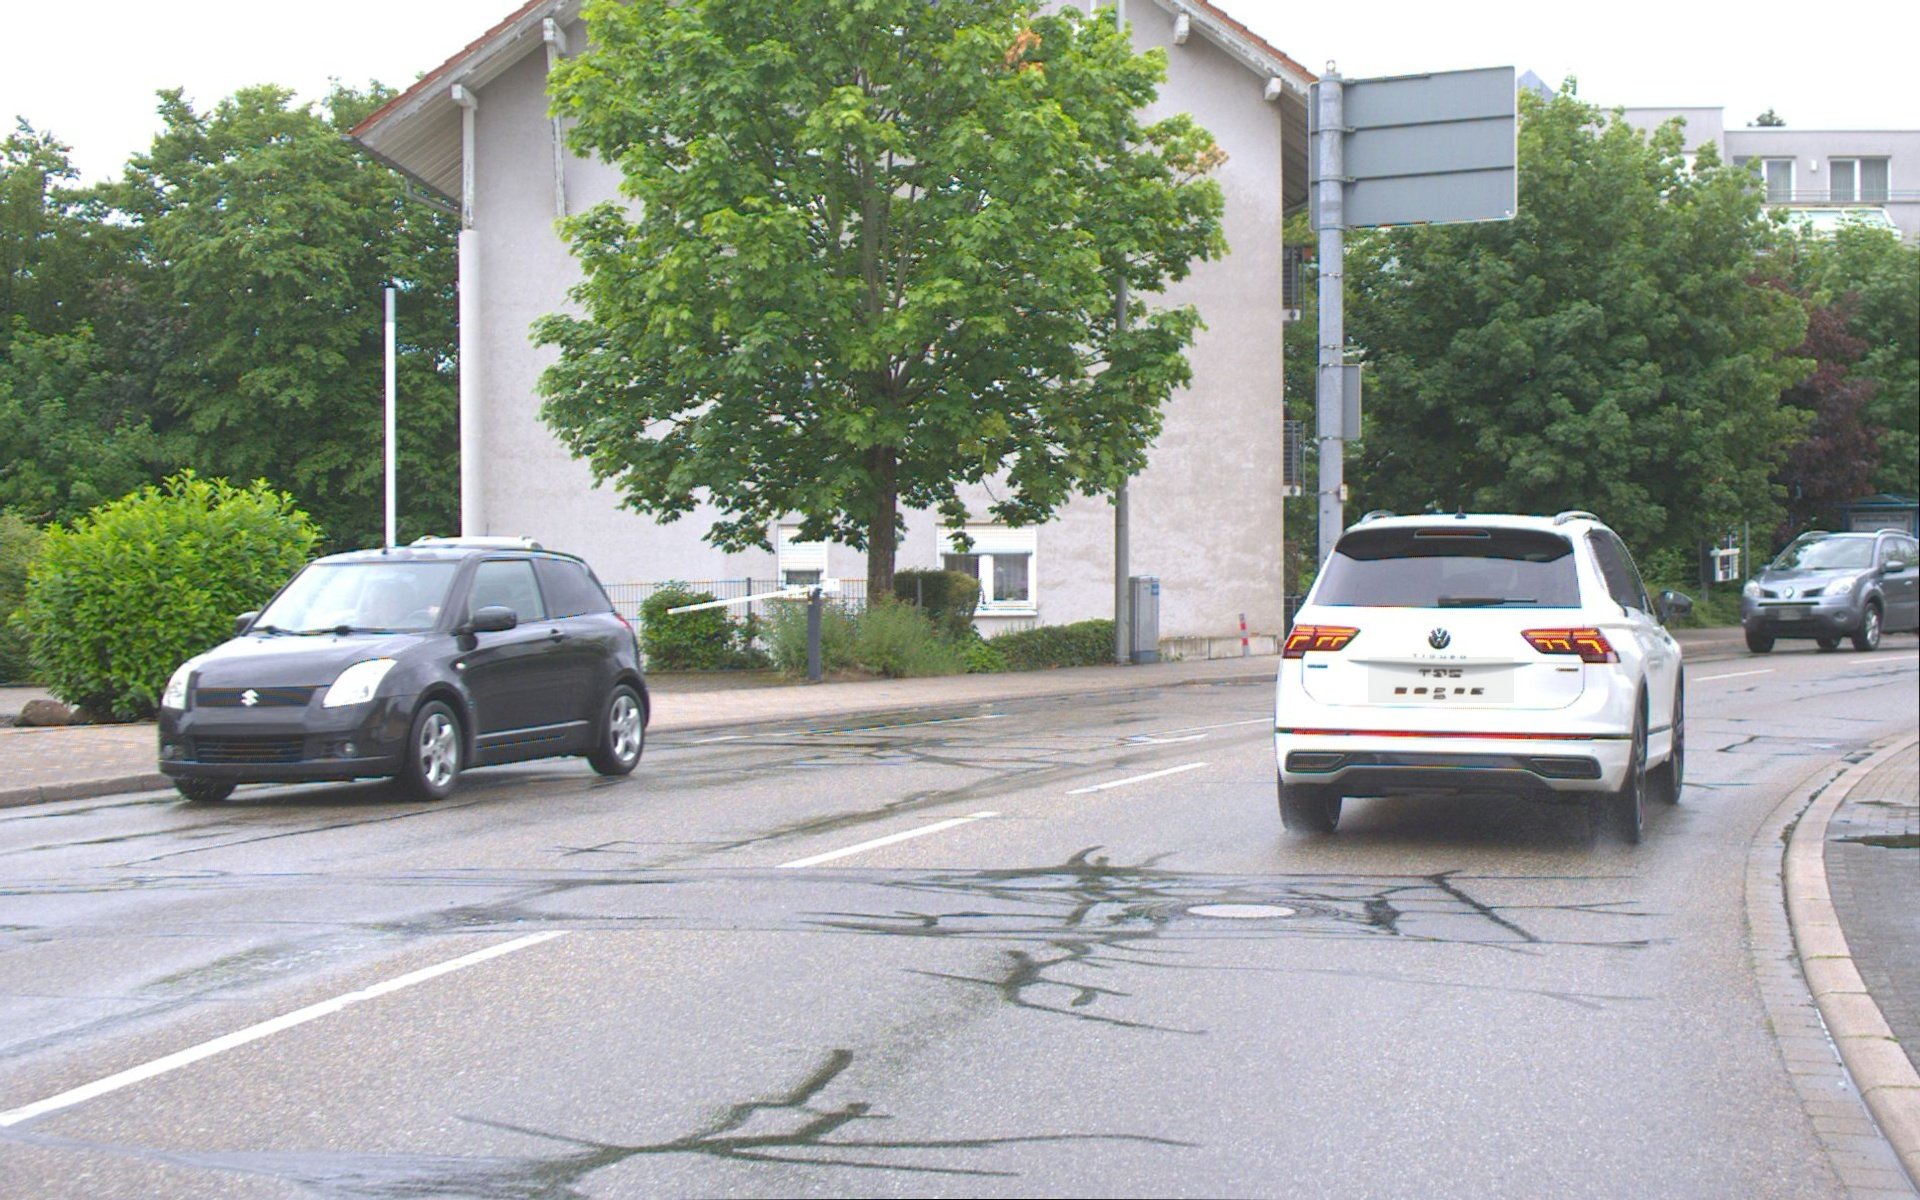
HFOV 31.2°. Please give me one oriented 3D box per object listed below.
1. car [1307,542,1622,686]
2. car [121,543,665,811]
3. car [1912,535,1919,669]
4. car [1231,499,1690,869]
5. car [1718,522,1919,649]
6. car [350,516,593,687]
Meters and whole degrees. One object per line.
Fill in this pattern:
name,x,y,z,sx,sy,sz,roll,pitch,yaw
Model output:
car,5.639,0.105,37.963,1.905,1.386,4.482,2,3,30
car,-3.323,0.404,20.844,1.589,1.417,3.691,-1,1,21
car,12.442,0.075,39.939,1.768,1.505,3.993,1,-1,29
car,2.816,0.330,18.528,1.922,1.716,4.262,1,2,15
car,12.382,-0.252,48.629,1.905,1.651,4.259,1,2,33
car,-5.037,0.042,35.944,1.993,1.645,4.000,1,-1,-1
